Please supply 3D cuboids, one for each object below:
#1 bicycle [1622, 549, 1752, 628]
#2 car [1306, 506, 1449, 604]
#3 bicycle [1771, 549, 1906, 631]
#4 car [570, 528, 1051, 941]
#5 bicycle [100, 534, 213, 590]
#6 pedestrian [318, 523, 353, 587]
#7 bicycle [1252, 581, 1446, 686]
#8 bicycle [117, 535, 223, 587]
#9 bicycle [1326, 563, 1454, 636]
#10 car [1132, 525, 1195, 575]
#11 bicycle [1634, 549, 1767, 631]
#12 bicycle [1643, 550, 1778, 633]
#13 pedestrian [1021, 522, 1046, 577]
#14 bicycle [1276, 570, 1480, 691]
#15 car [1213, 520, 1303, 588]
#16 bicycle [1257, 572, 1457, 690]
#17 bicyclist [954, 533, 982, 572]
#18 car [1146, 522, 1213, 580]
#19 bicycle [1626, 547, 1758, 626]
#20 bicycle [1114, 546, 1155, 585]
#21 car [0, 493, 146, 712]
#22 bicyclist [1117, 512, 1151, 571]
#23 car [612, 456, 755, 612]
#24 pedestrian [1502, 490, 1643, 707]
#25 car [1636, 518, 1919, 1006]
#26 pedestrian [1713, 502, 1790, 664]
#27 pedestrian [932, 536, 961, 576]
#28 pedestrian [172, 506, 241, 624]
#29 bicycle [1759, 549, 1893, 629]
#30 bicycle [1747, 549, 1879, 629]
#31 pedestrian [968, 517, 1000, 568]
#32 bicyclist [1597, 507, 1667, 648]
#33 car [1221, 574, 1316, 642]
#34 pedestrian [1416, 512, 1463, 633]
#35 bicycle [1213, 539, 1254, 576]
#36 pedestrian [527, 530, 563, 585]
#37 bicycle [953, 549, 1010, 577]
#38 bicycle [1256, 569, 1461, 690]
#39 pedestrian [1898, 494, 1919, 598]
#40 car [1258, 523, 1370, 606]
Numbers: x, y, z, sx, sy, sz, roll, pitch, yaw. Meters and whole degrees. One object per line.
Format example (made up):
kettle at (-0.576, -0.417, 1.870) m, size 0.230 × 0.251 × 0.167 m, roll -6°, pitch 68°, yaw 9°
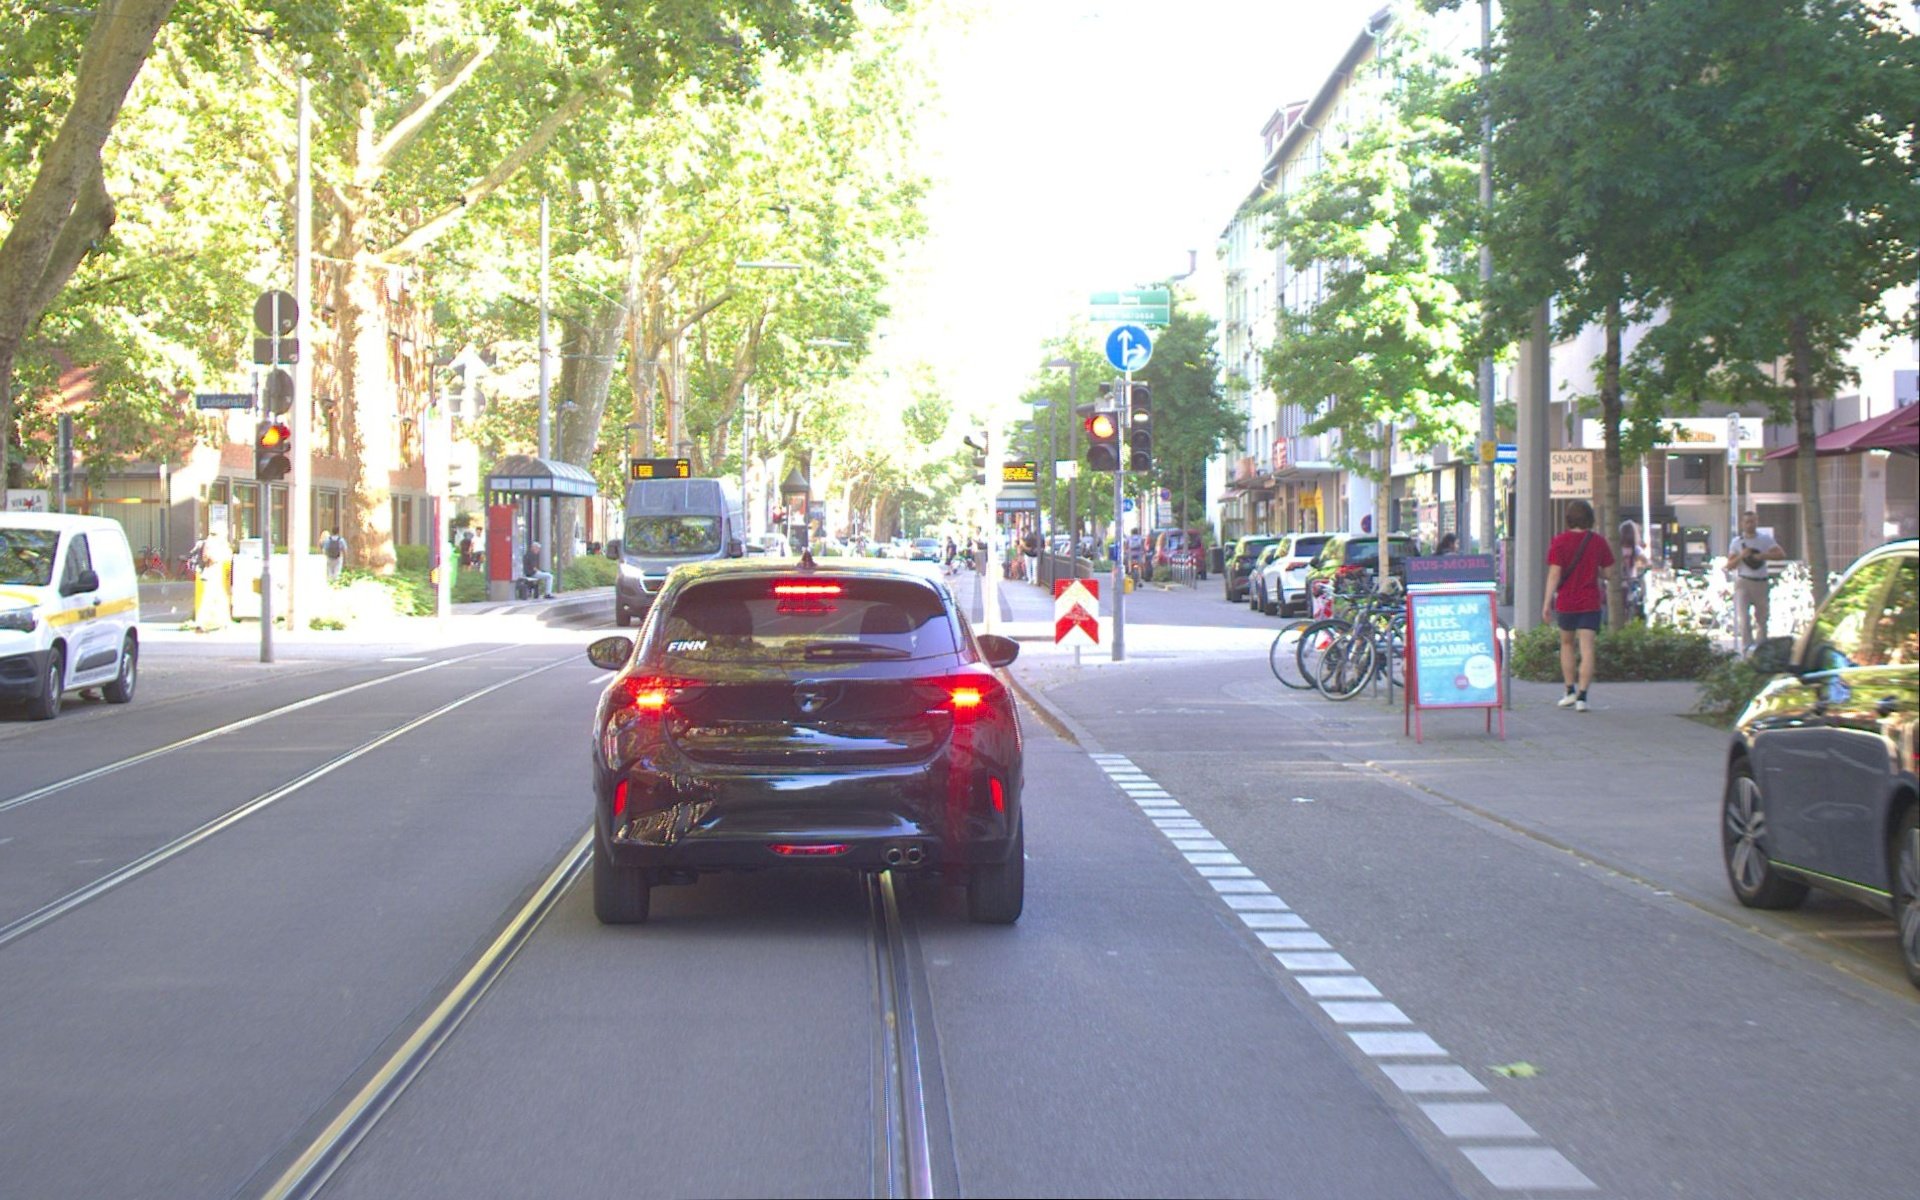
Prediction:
bicycle at (11.288, -0.181, 53.399) m, size 1.914 × 1.203 × 0.511 m, roll -1°, pitch 1°, yaw -3°
car at (7.436, -0.797, 61.592) m, size 1.993 × 1.610 × 4.445 m, roll -2°, pitch 1°, yaw 0°
bicycle at (13.403, -0.153, 52.455) m, size 1.914 × 1.203 × 0.511 m, roll 1°, pitch 2°, yaw -3°
car at (-0.613, 0.483, 14.645) m, size 1.759 × 1.503 × 3.683 m, roll 1°, pitch 1°, yaw -2°
bicycle at (-18.879, -0.885, 80.777) m, size 2.458 × 1.215 × 0.682 m, roll 2°, pitch 0°, yaw 1°
pedestrian at (-16.441, -1.175, 90.573) m, size 0.735 × 1.666 × 0.861 m, roll 1°, pitch 0°, yaw 1°
bicycle at (3.800, 0.322, 33.661) m, size 1.815 × 0.991 × 0.481 m, roll 1°, pitch 0°, yaw -2°
bicycle at (-18.761, -0.933, 81.638) m, size 2.340 × 1.162 × 0.682 m, roll 2°, pitch 0°, yaw 1°
bicycle at (7.298, -0.009, 58.304) m, size 2.127 × 1.183 × 0.681 m, roll 1°, pitch 0°, yaw 9°
car at (7.441, -1.817, 125.997) m, size 1.993 × 1.791 × 4.000 m, roll 1°, pitch 1°, yaw 0°
bicycle at (11.263, -0.153, 52.309) m, size 1.914 × 1.203 × 0.511 m, roll -1°, pitch 2°, yaw -3°
bicycle at (11.303, -0.132, 51.779) m, size 1.914 × 1.203 × 0.511 m, roll -1°, pitch 2°, yaw -3°
pedestrian at (2.112, -1.459, 98.940) m, size 0.631 × 1.571 × 0.871 m, roll 2°, pitch 1°, yaw 0°
bicycle at (3.920, 0.287, 32.252) m, size 1.815 × 1.096 × 0.481 m, roll 1°, pitch 0°, yaw -8°
car at (7.346, -1.128, 85.212) m, size 1.857 × 1.610 × 4.398 m, roll 1°, pitch 1°, yaw 0°
bicycle at (3.789, 0.295, 32.851) m, size 1.815 × 1.096 × 0.498 m, roll 1°, pitch 0°, yaw -8°
bicyclist at (0.365, -2.136, 154.928) m, size 1.163 × 1.742 × 0.958 m, roll 1°, pitch 0°, yaw -5°
car at (7.582, -1.686, 119.210) m, size 1.993 × 1.946 × 4.000 m, roll 1°, pitch 1°, yaw 0°
bicycle at (11.241, -0.211, 52.842) m, size 1.914 × 1.203 × 0.511 m, roll 0°, pitch 1°, yaw -3°
bicycle at (5.230, -1.039, 103.321) m, size 0.861 × 1.132 × 2.396 m, roll 1°, pitch 1°, yaw -6°
car at (-8.725, -0.013, 31.135) m, size 1.763 × 1.844 × 4.319 m, roll 1°, pitch 1°, yaw -2°
bicyclist at (5.229, -1.769, 103.465) m, size 0.861 × 1.753 × 1.054 m, roll 1°, pitch 0°, yaw -6°
car at (-5.094, -1.202, 64.079) m, size 2.113 × 2.729 × 6.115 m, roll -1°, pitch 1°, yaw 0°
pedestrian at (5.097, -0.018, 28.584) m, size 0.876 × 1.752 × 1.046 m, roll 1°, pitch 0°, yaw 26°
car at (3.946, 0.481, 12.845) m, size 1.758 × 1.582 × 4.329 m, roll -3°, pitch 1°, yaw -2°
pedestrian at (8.848, -0.191, 38.454) m, size 0.590 × 1.778 × 0.995 m, roll 1°, pitch 0°, yaw -1°
pedestrian at (-0.605, -1.931, 152.224) m, size 1.163 × 1.742 × 0.958 m, roll 1°, pitch 0°, yaw -5°
pedestrian at (-12.006, -0.568, 54.789) m, size 0.924 × 1.829 × 0.920 m, roll 1°, pitch 3°, yaw -3°
bicycle at (13.363, -0.171, 53.067) m, size 1.914 × 1.203 × 0.511 m, roll 1°, pitch 0°, yaw -3°
bicycle at (13.331, -0.173, 53.730) m, size 1.914 × 1.203 × 0.511 m, roll 1°, pitch 0°, yaw -3°
pedestrian at (0.825, -1.977, 118.161) m, size 0.751 × 1.703 × 0.762 m, roll 1°, pitch 1°, yaw 35°
bicyclist at (8.302, -0.282, 42.477) m, size 0.677 × 1.711 × 0.965 m, roll 1°, pitch 0°, yaw 2°
car at (6.808, 0.156, 76.241) m, size 1.744 × 1.435 × 4.247 m, roll 1°, pitch 1°, yaw 0°
pedestrian at (6.266, -0.353, 44.924) m, size 0.551 × 1.556 × 0.645 m, roll 1°, pitch 0°, yaw 4°
bicycle at (8.353, -1.303, 105.152) m, size 0.621 × 1.132 × 2.440 m, roll 1°, pitch 1°, yaw -11°
pedestrian at (-8.794, -0.901, 72.876) m, size 0.705 × 1.164 × 0.659 m, roll -1°, pitch 1°, yaw -3°
bicycle at (0.980, -1.674, 154.986) m, size 2.480 × 1.236 × 0.958 m, roll 1°, pitch 0°, yaw -5°
bicycle at (3.640, 0.264, 31.466) m, size 1.815 × 1.096 × 0.525 m, roll 0°, pitch 0°, yaw 0°
pedestrian at (10.234, -0.559, 36.019) m, size 0.642 × 1.075 × 0.522 m, roll 1°, pitch 0°, yaw -2°
car at (7.073, -0.713, 69.104) m, size 1.799 × 1.600 × 4.415 m, roll 1°, pitch 1°, yaw 0°
